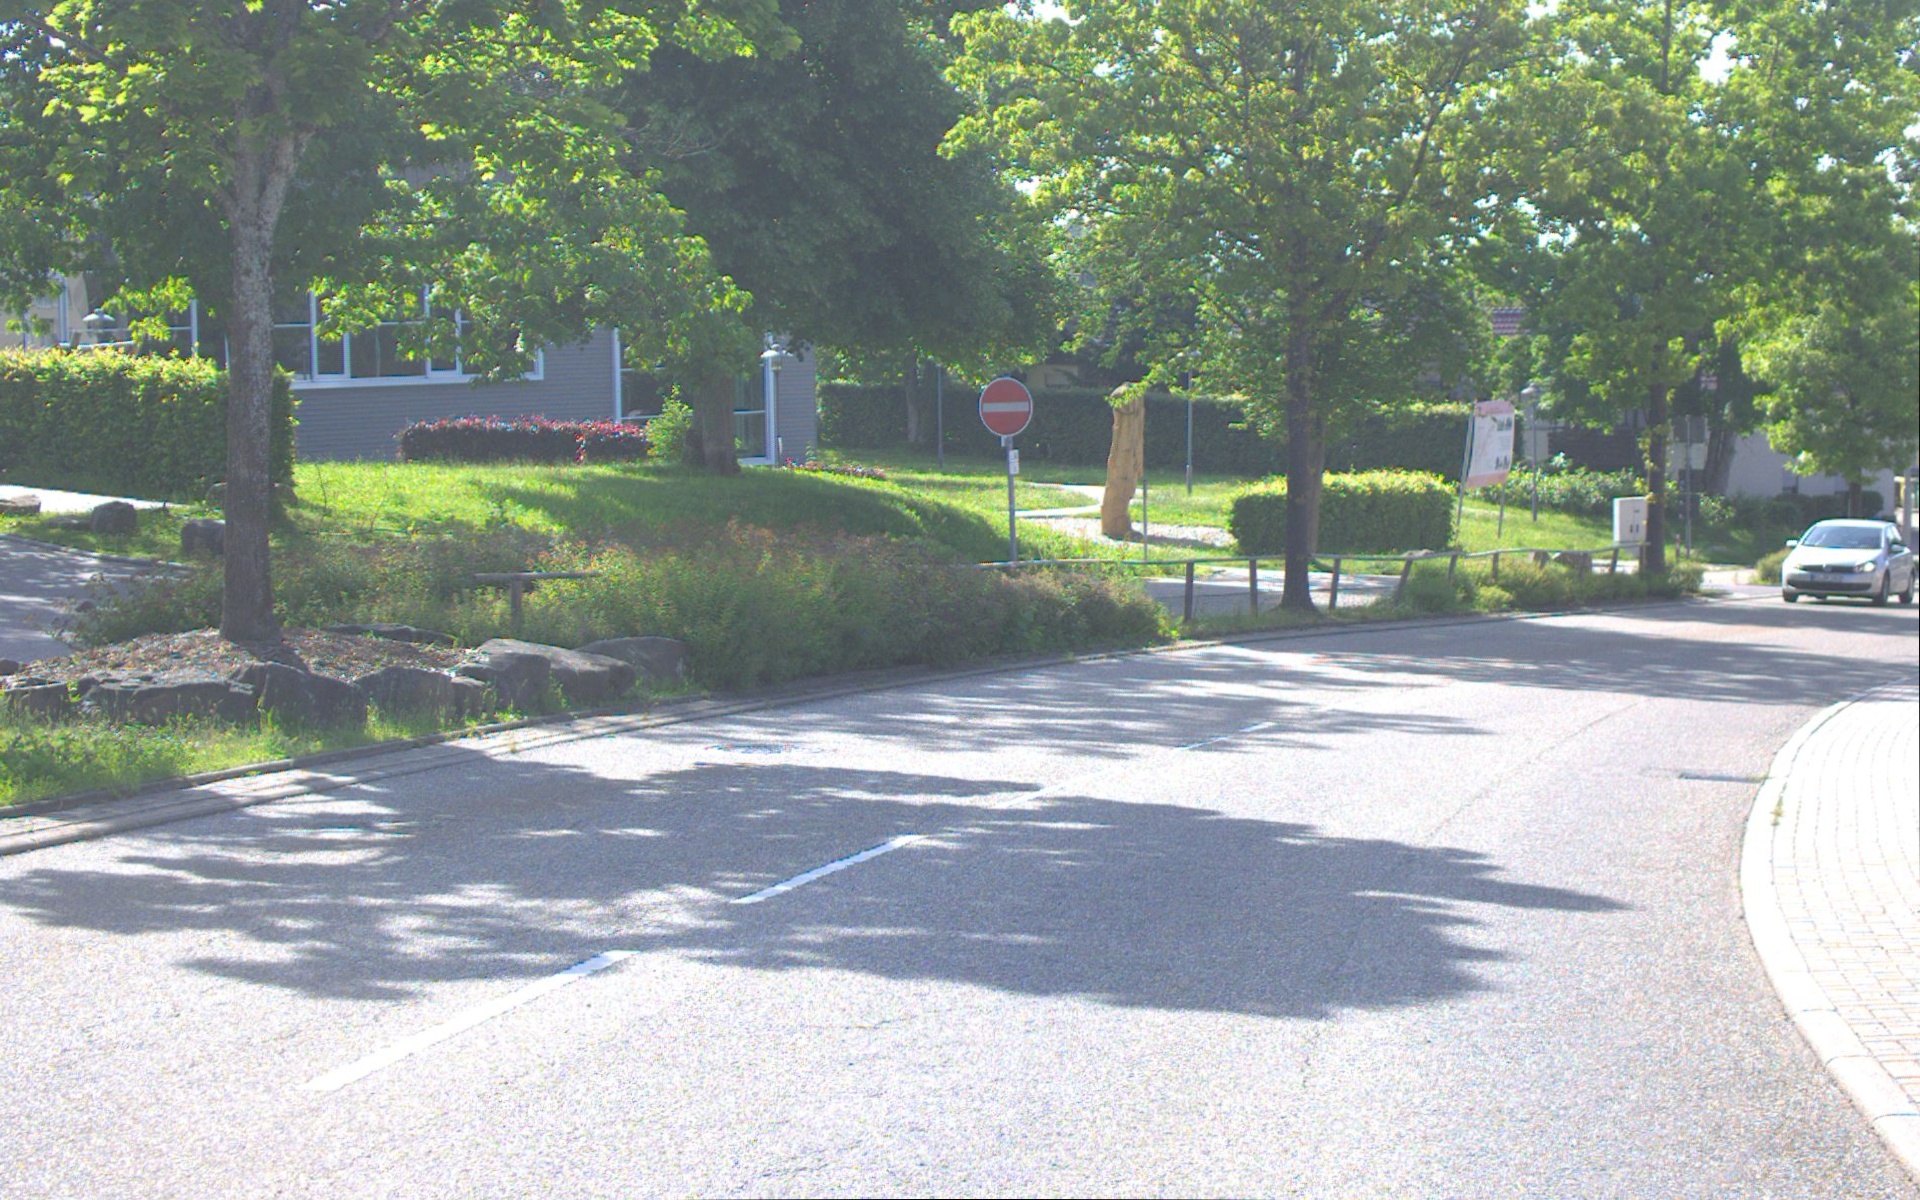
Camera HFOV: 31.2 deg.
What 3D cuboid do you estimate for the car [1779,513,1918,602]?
[{"bbox_3d":[15.707,-0.770,60.653,1.731,1.438,4.060,3,3,23],"label":"car"}]
